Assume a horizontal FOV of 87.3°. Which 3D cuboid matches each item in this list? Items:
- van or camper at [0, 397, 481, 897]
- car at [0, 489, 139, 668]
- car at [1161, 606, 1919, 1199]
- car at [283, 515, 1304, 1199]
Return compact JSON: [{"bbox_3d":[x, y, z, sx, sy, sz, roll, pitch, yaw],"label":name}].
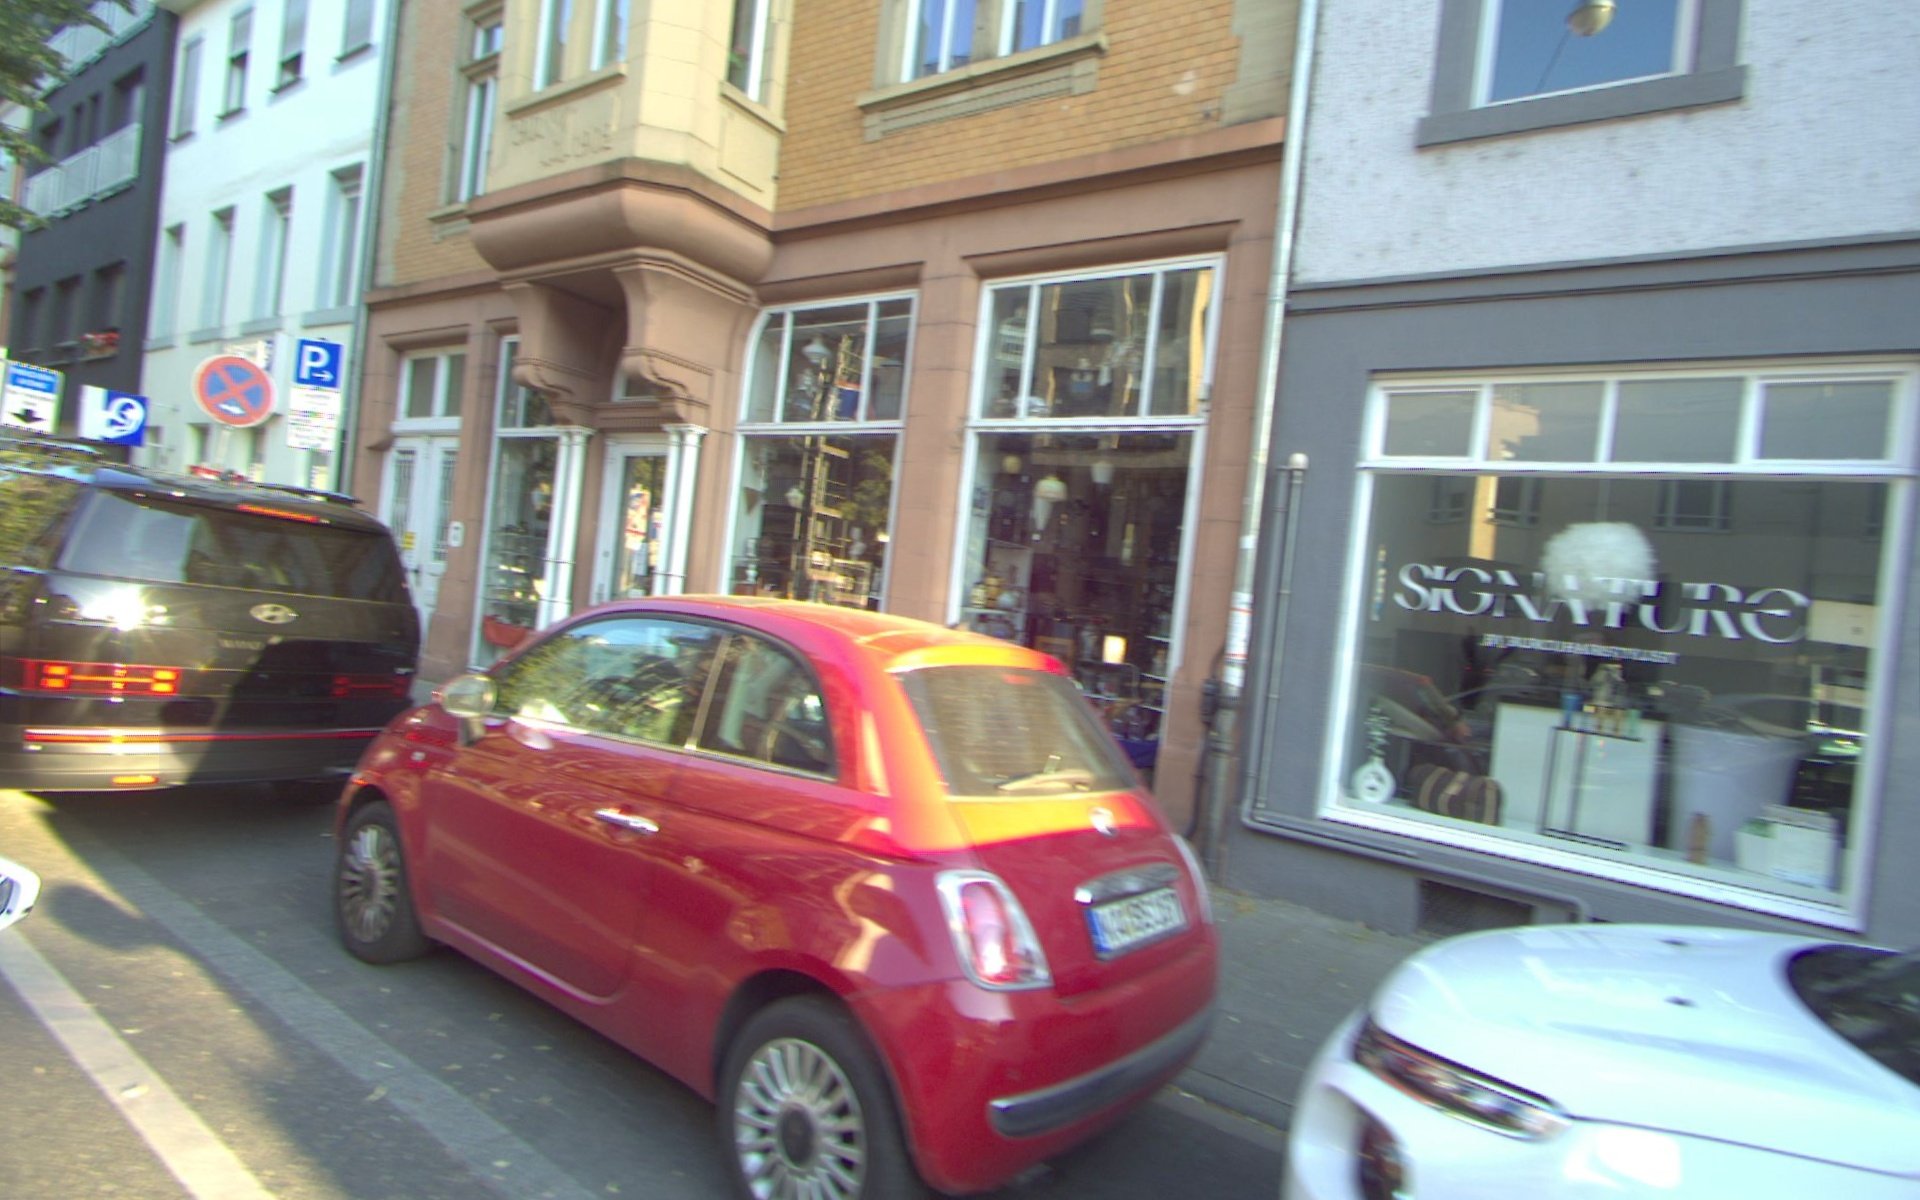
[{"bbox_3d":[-4.952,0.050,5.532,4.385,1.829,1.893,6,-1,30],"label":"van or camper"},{"bbox_3d":[-9.609,-0.316,8.707,1.481,1.595,3.478,7,-1,26],"label":"car"},{"bbox_3d":[2.385,1.049,1.204,3.874,1.591,1.663,6,-2,36],"label":"car"},{"bbox_3d":[-0.789,0.673,3.573,3.369,1.588,1.526,6,-1,37],"label":"car"}]
